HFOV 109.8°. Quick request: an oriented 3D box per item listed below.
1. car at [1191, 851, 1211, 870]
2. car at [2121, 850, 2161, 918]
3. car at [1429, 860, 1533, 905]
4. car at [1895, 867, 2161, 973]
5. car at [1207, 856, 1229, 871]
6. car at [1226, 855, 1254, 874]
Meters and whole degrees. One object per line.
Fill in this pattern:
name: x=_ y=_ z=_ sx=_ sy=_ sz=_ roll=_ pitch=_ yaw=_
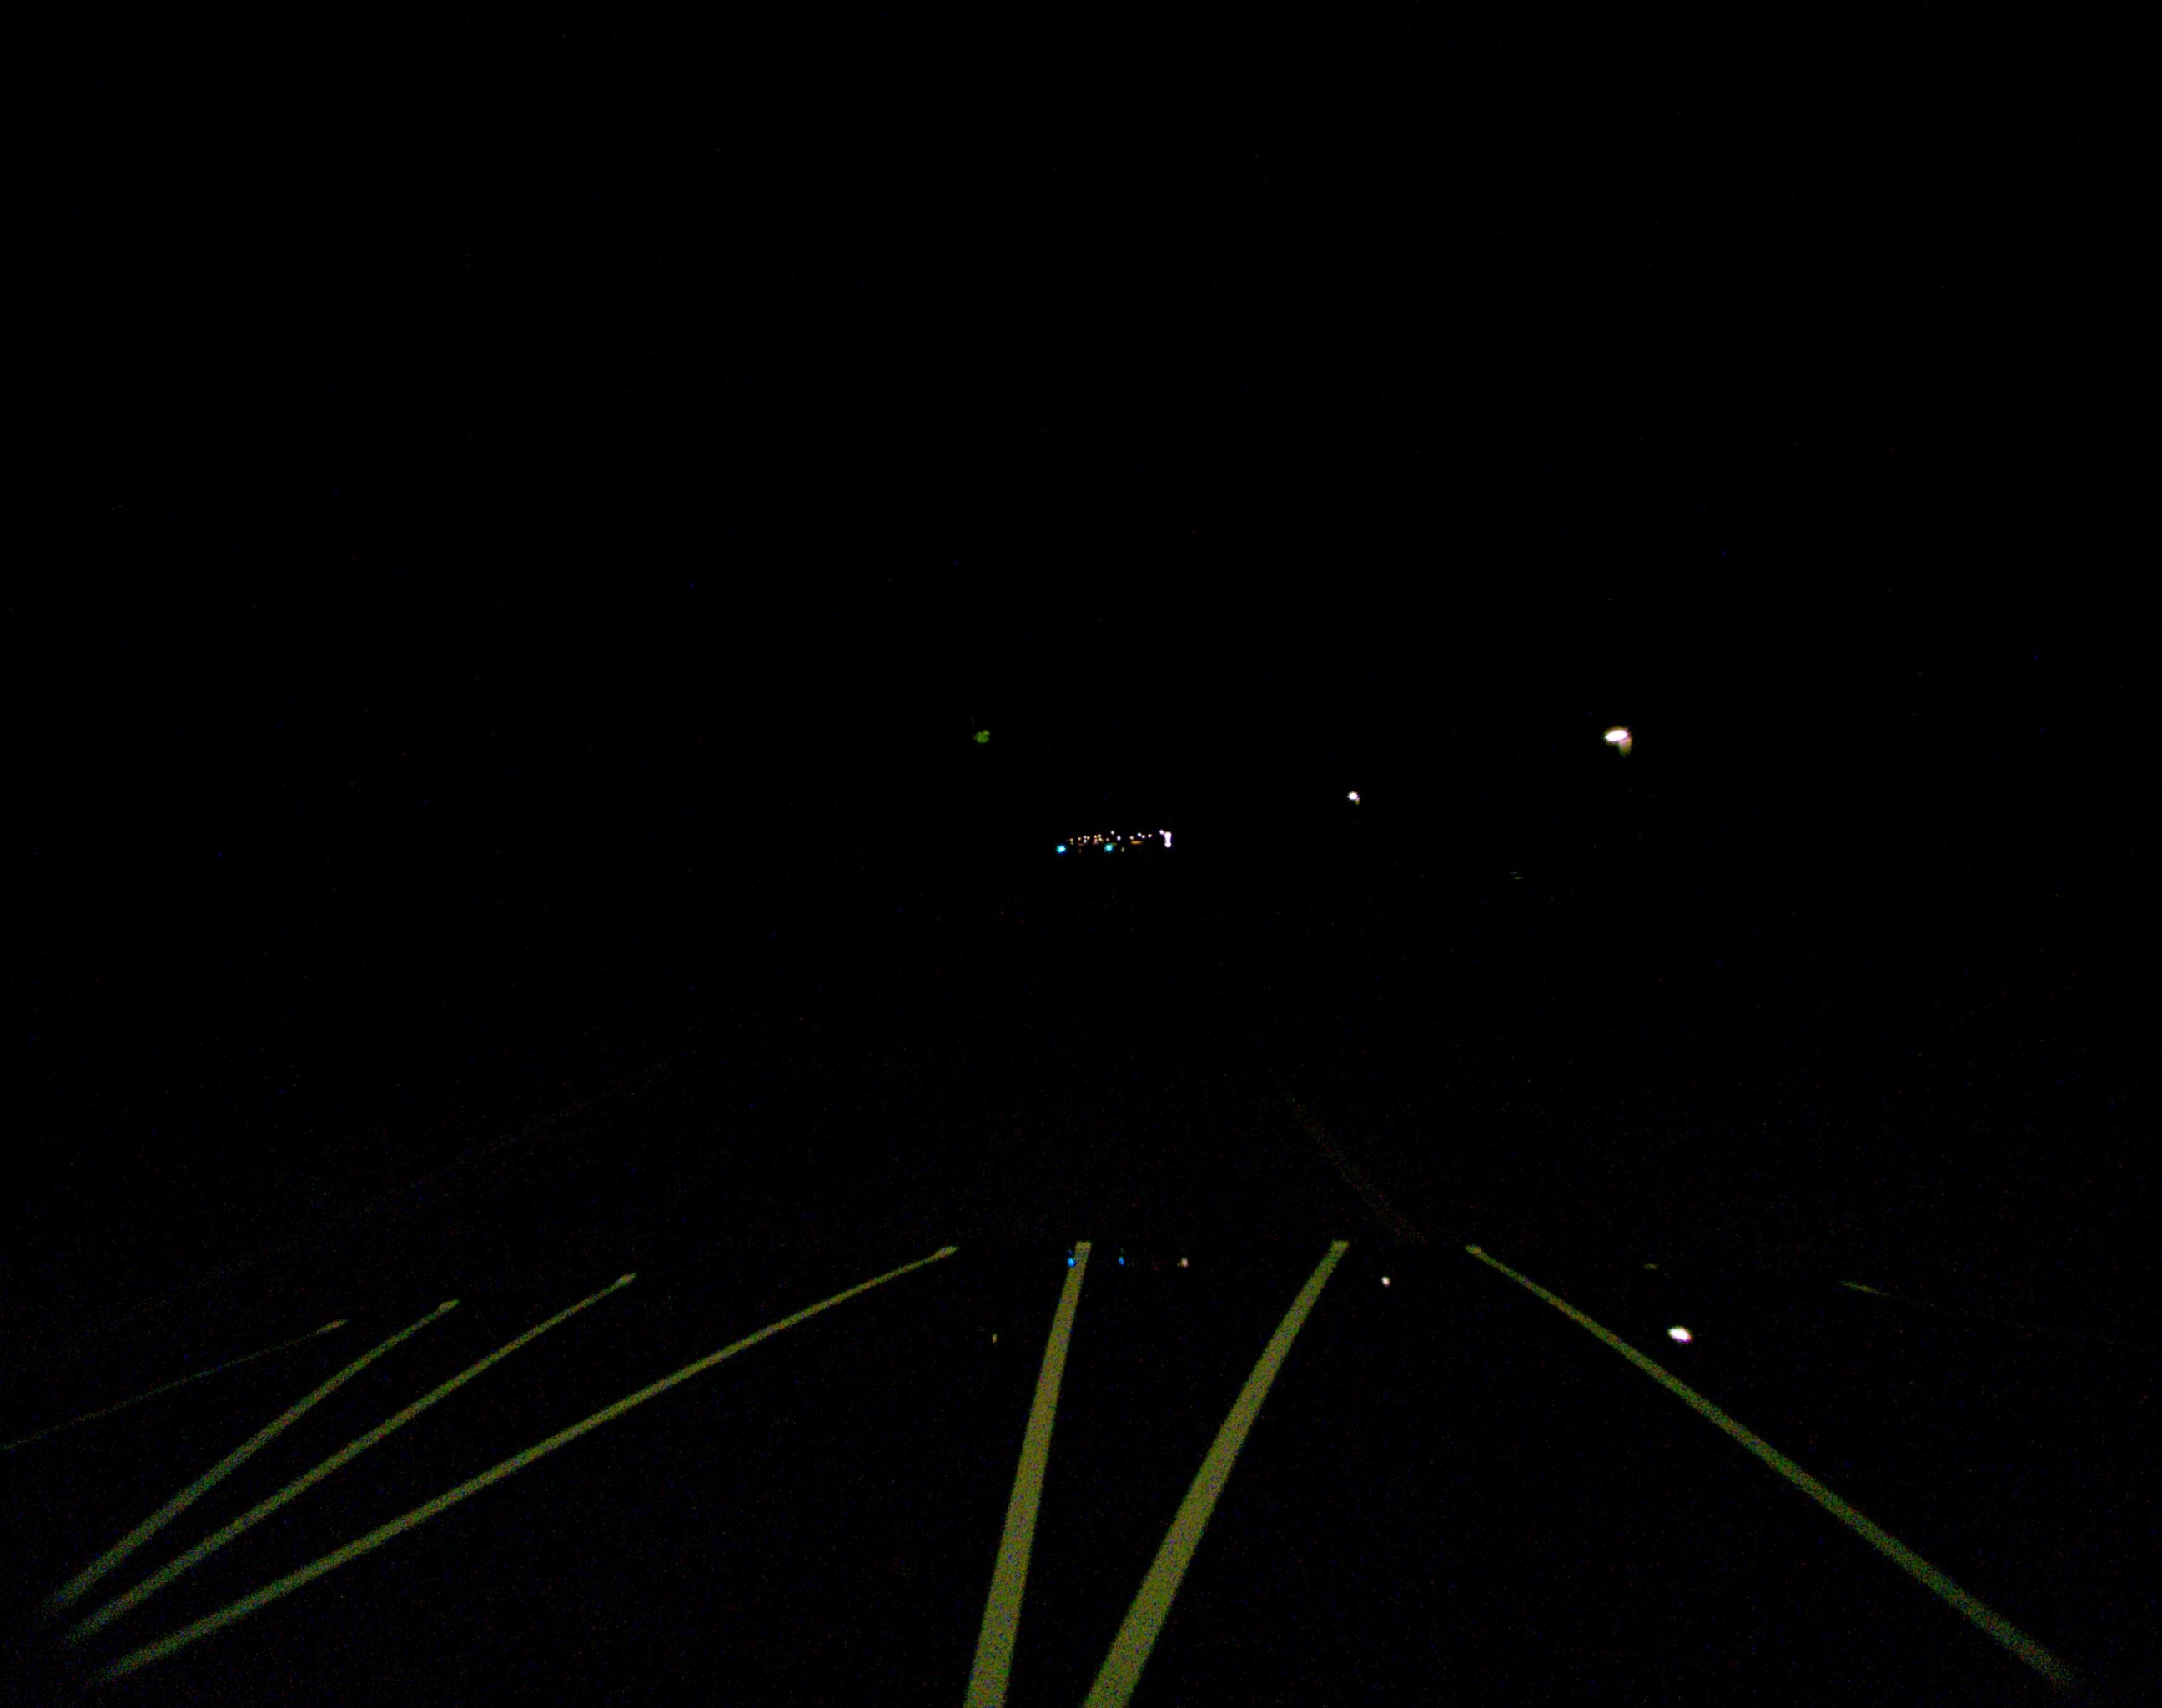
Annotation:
car: x=16.755 y=0.899 z=106.265 sx=2.164 sy=2.498 sz=4.721 roll=2 pitch=1 yaw=3
car: x=27.184 y=0.623 z=17.482 sx=3.997 sy=1.534 sz=1.889 roll=-3 pitch=1 yaw=-1
car: x=16.210 y=1.103 z=31.104 sx=1.768 sy=1.559 sz=4.693 roll=3 pitch=0 yaw=1
car: x=15.929 y=0.971 z=11.538 sx=1.904 sy=1.357 sz=4.984 roll=2 pitch=1 yaw=3
car: x=16.672 y=1.126 z=92.694 sx=2.124 sy=1.761 sz=4.721 roll=2 pitch=1 yaw=3
car: x=16.603 y=1.066 z=79.648 sx=2.124 sy=1.761 sz=4.721 roll=2 pitch=1 yaw=3
